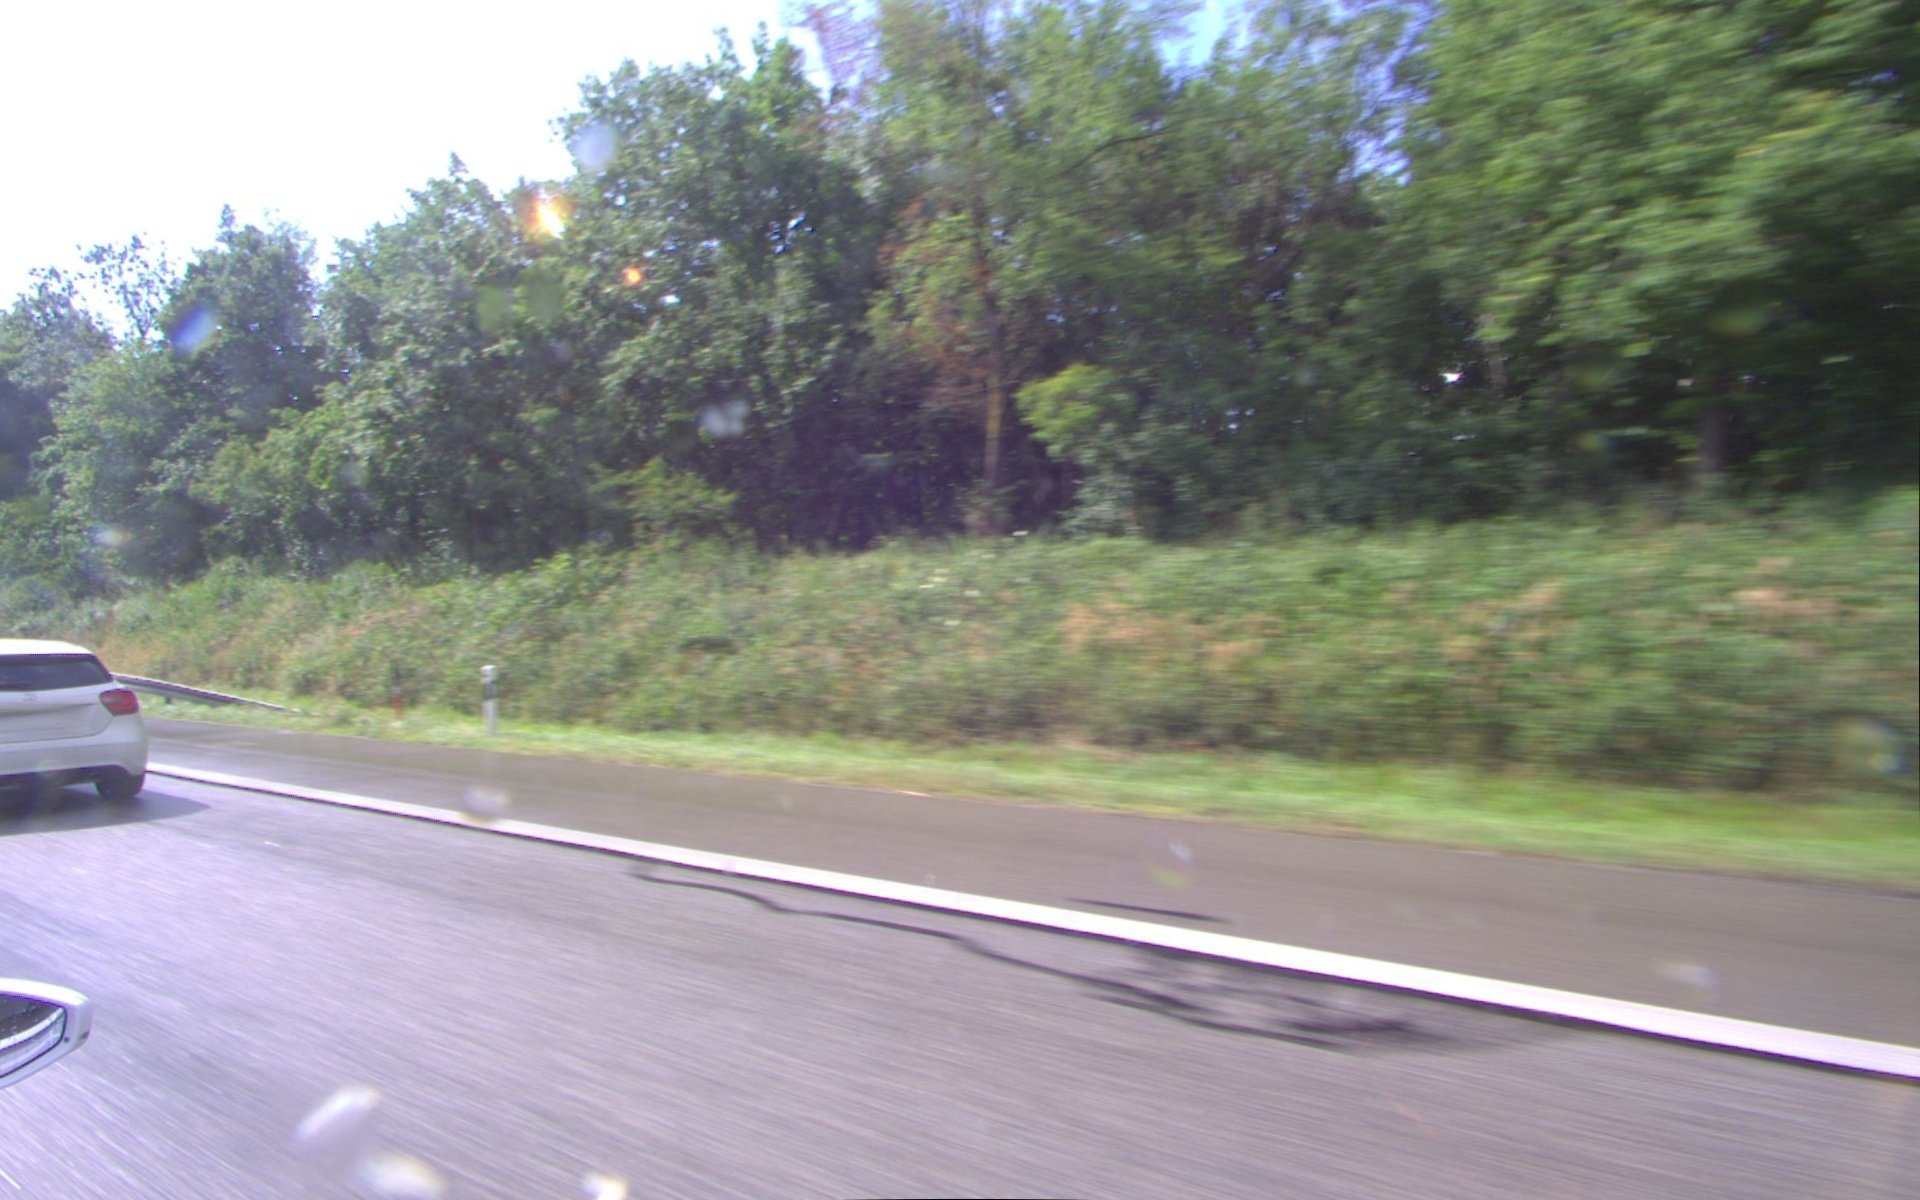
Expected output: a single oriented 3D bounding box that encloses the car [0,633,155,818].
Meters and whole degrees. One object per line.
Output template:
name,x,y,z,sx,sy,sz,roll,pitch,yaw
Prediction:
car,-9.146,1.022,9.063,4.161,1.443,1.689,-1,-2,33
